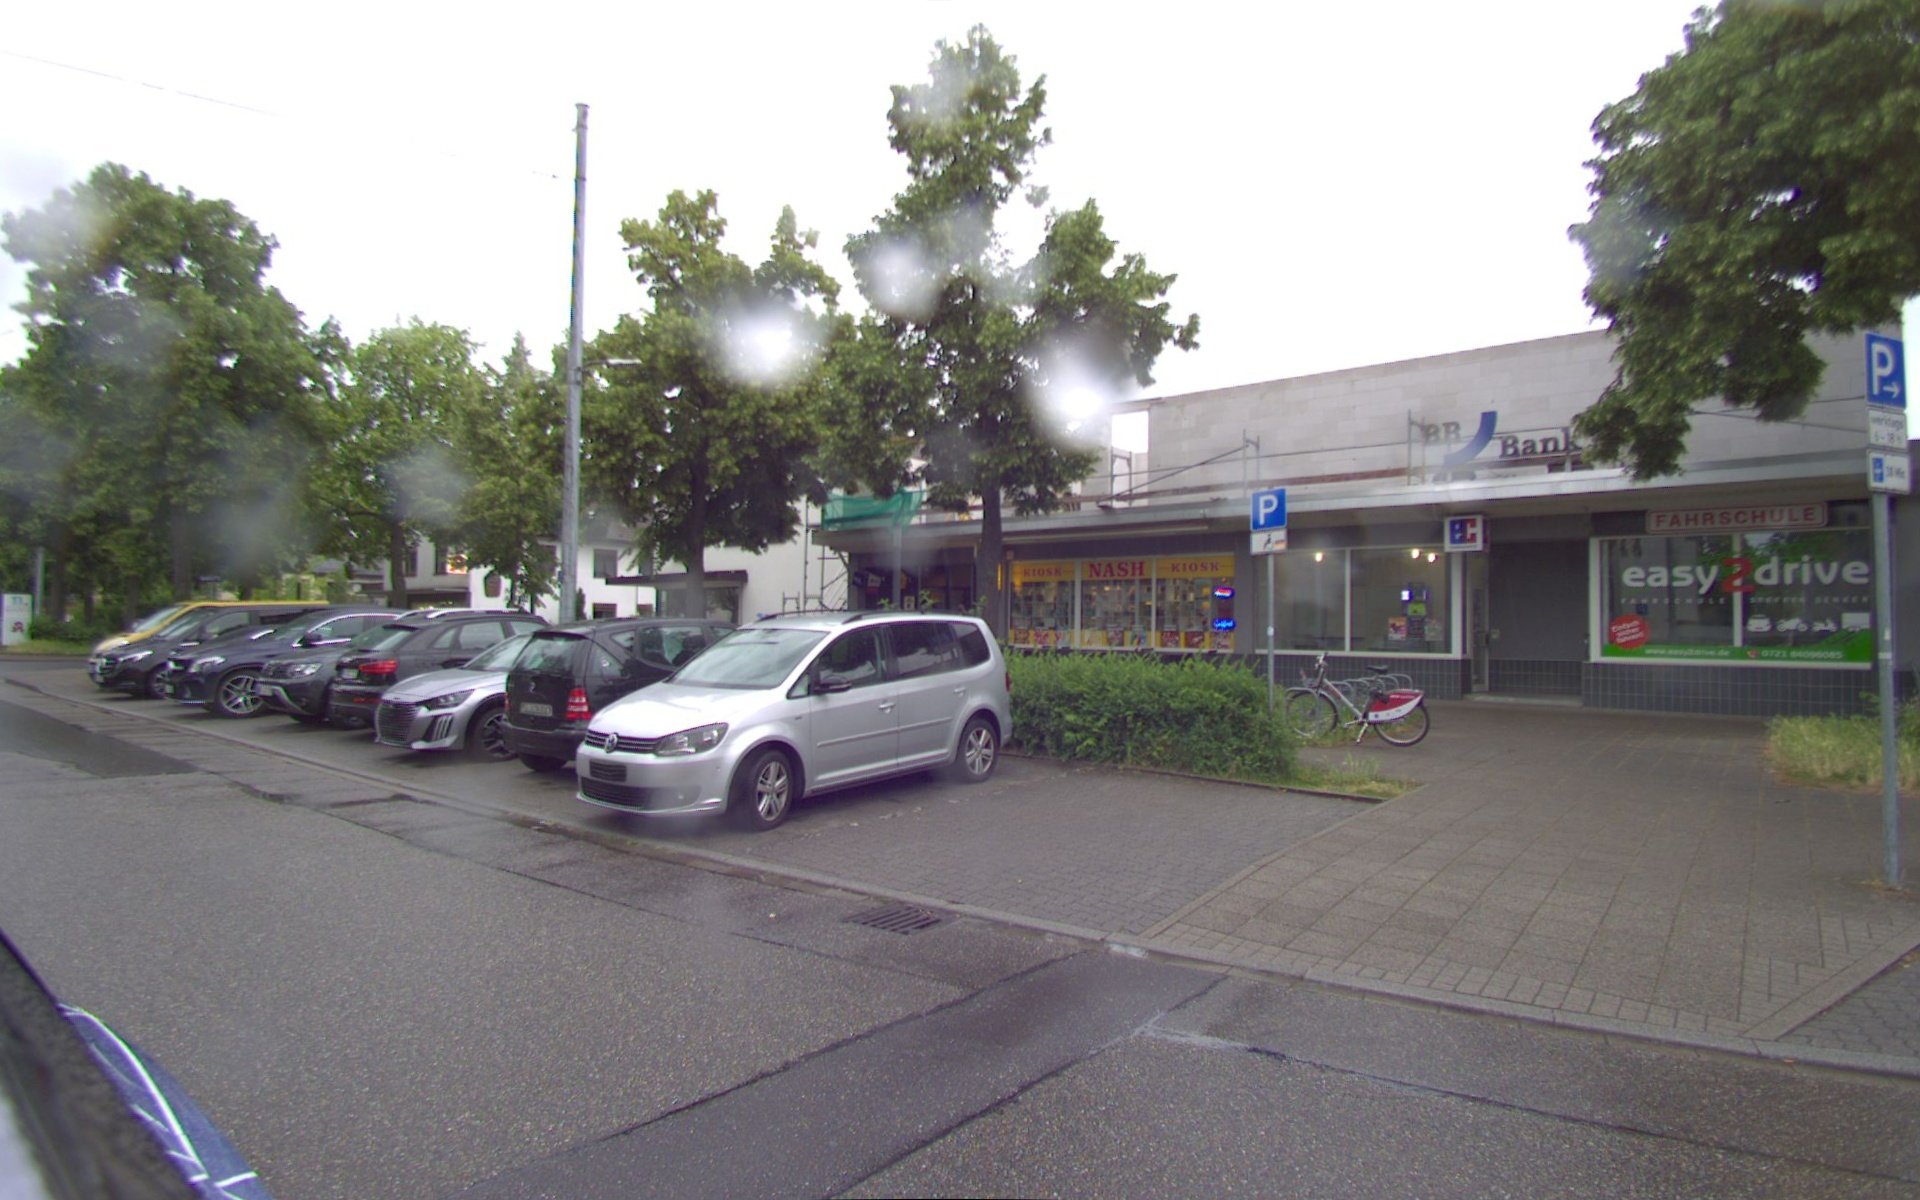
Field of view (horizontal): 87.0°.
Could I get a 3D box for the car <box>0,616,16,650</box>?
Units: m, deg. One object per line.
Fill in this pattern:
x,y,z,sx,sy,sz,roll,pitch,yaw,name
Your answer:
-49.758,1.666,50.261,1.997,1.698,3.950,-1,0,37,car

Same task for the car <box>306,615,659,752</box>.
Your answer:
-6.578,1.030,14.355,1.713,1.607,4.231,-1,-1,38,car

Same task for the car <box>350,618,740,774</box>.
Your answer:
-4.958,1.023,12.616,1.713,1.544,4.231,-1,-1,38,car

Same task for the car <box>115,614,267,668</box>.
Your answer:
-26.800,1.384,35.336,1.840,1.700,3.945,-1,0,41,car

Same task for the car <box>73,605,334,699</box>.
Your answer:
-17.451,1.109,23.574,1.713,1.973,4.600,-1,-1,38,car

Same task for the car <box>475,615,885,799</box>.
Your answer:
-2.850,0.976,11.151,1.633,1.577,4.231,-1,0,38,car

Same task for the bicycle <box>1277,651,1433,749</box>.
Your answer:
4.798,1.198,12.350,1.739,1.115,0.316,-1,0,25,bicycle

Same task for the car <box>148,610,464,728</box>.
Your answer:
-10.989,1.050,17.293,1.713,1.740,4.231,-1,-1,38,car

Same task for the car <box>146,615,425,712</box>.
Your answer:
-13.006,1.135,19.749,1.713,1.639,4.231,-1,-1,38,car

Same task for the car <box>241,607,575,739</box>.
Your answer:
-8.352,0.985,15.650,1.713,1.740,4.231,-1,-1,38,car

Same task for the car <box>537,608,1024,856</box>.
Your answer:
-1.327,0.908,9.010,1.713,1.647,4.231,-1,-1,38,car

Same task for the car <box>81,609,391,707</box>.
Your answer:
-15.158,1.116,21.519,1.713,1.813,5.114,-1,-1,38,car
